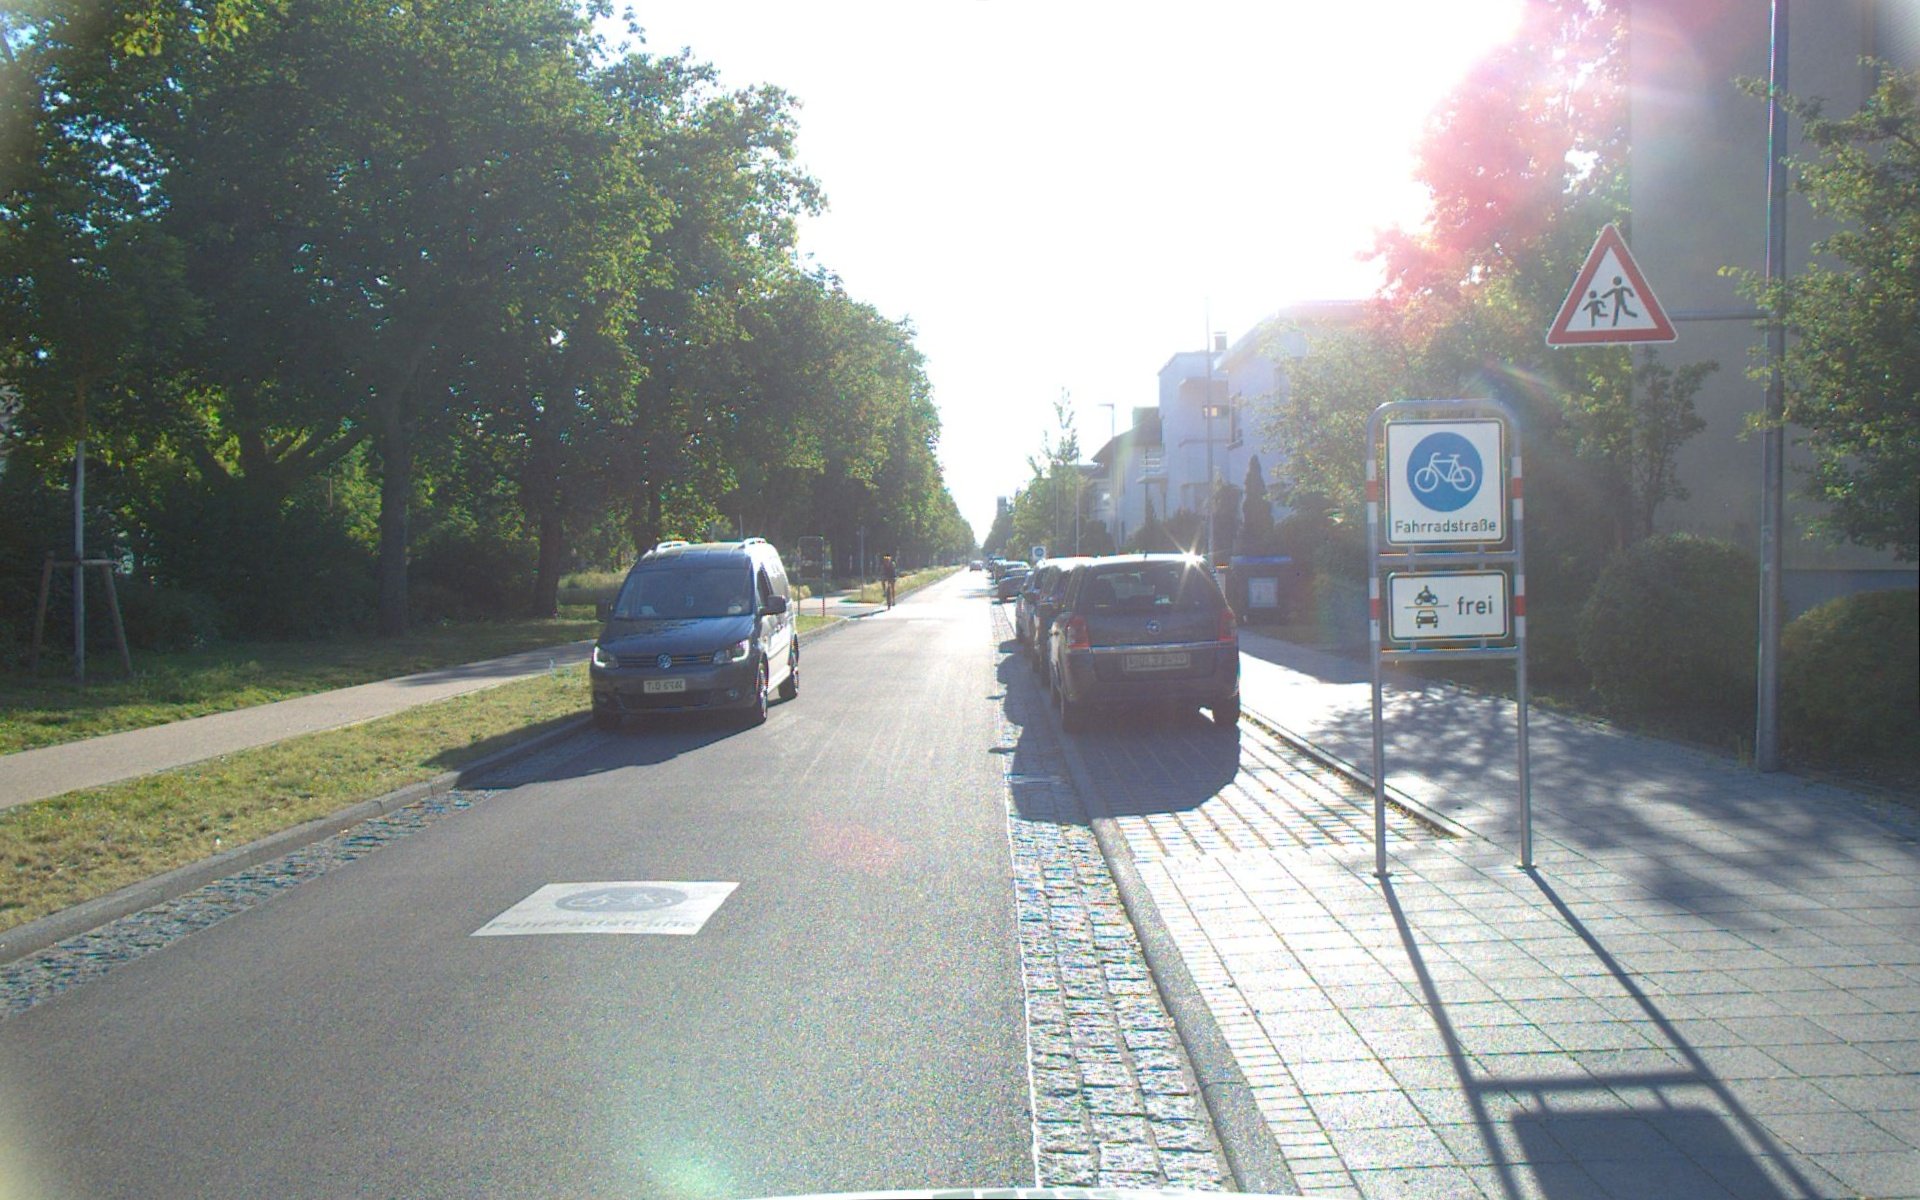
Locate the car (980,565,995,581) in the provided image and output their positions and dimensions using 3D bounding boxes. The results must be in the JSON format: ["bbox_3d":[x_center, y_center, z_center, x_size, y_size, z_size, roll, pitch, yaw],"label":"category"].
[{"bbox_3d":[2.788,-2.797,169.230,1.467,1.594,3.268,-1,1,2],"label":"car"}]

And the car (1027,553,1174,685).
[{"bbox_3d":[1.840,0.186,22.745,1.644,1.582,4.145,-2,1,0],"label":"car"}]

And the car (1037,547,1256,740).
[{"bbox_3d":[1.765,0.329,16.867,1.675,1.638,4.169,-3,2,0],"label":"car"}]

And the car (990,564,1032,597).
[{"bbox_3d":[2.182,-0.857,70.645,1.738,1.311,4.274,0,2,1],"label":"car"}]

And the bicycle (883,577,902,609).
[{"bbox_3d":[-2.322,-0.254,56.850,0.545,1.049,1.915,-2,1,0],"label":"bicycle"}]

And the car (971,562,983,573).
[{"bbox_3d":[2.498,-4.742,240.397,1.618,1.568,3.267,0,1,1],"label":"car"}]

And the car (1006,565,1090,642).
[{"bbox_3d":[1.752,0.020,33.953,1.531,1.414,4.375,-2,1,1],"label":"car"}]

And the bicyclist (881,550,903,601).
[{"bbox_3d":[-2.337,-0.834,56.781,0.667,1.702,1.173,-2,0,0],"label":"bicyclist"}]

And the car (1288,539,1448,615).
[{"bbox_3d":[9.286,-0.523,37.891,3.418,1.670,1.645,0,1,9],"label":"car"}]

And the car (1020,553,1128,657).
[{"bbox_3d":[1.875,0.032,28.248,1.644,1.582,4.132,-2,1,2],"label":"car"}]

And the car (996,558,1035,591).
[{"bbox_3d":[2.736,-1.270,81.687,1.709,1.499,3.922,-4,1,0],"label":"car"}]

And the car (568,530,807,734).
[{"bbox_3d":[-2.829,0.271,18.156,1.806,1.879,4.573,-2,1,0],"label":"car"}]

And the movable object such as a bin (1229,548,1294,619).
[{"bbox_3d":[6.330,-0.347,34.815,1.211,1.457,1.123,0,1,3],"label":"movable object such as a bin"}]
